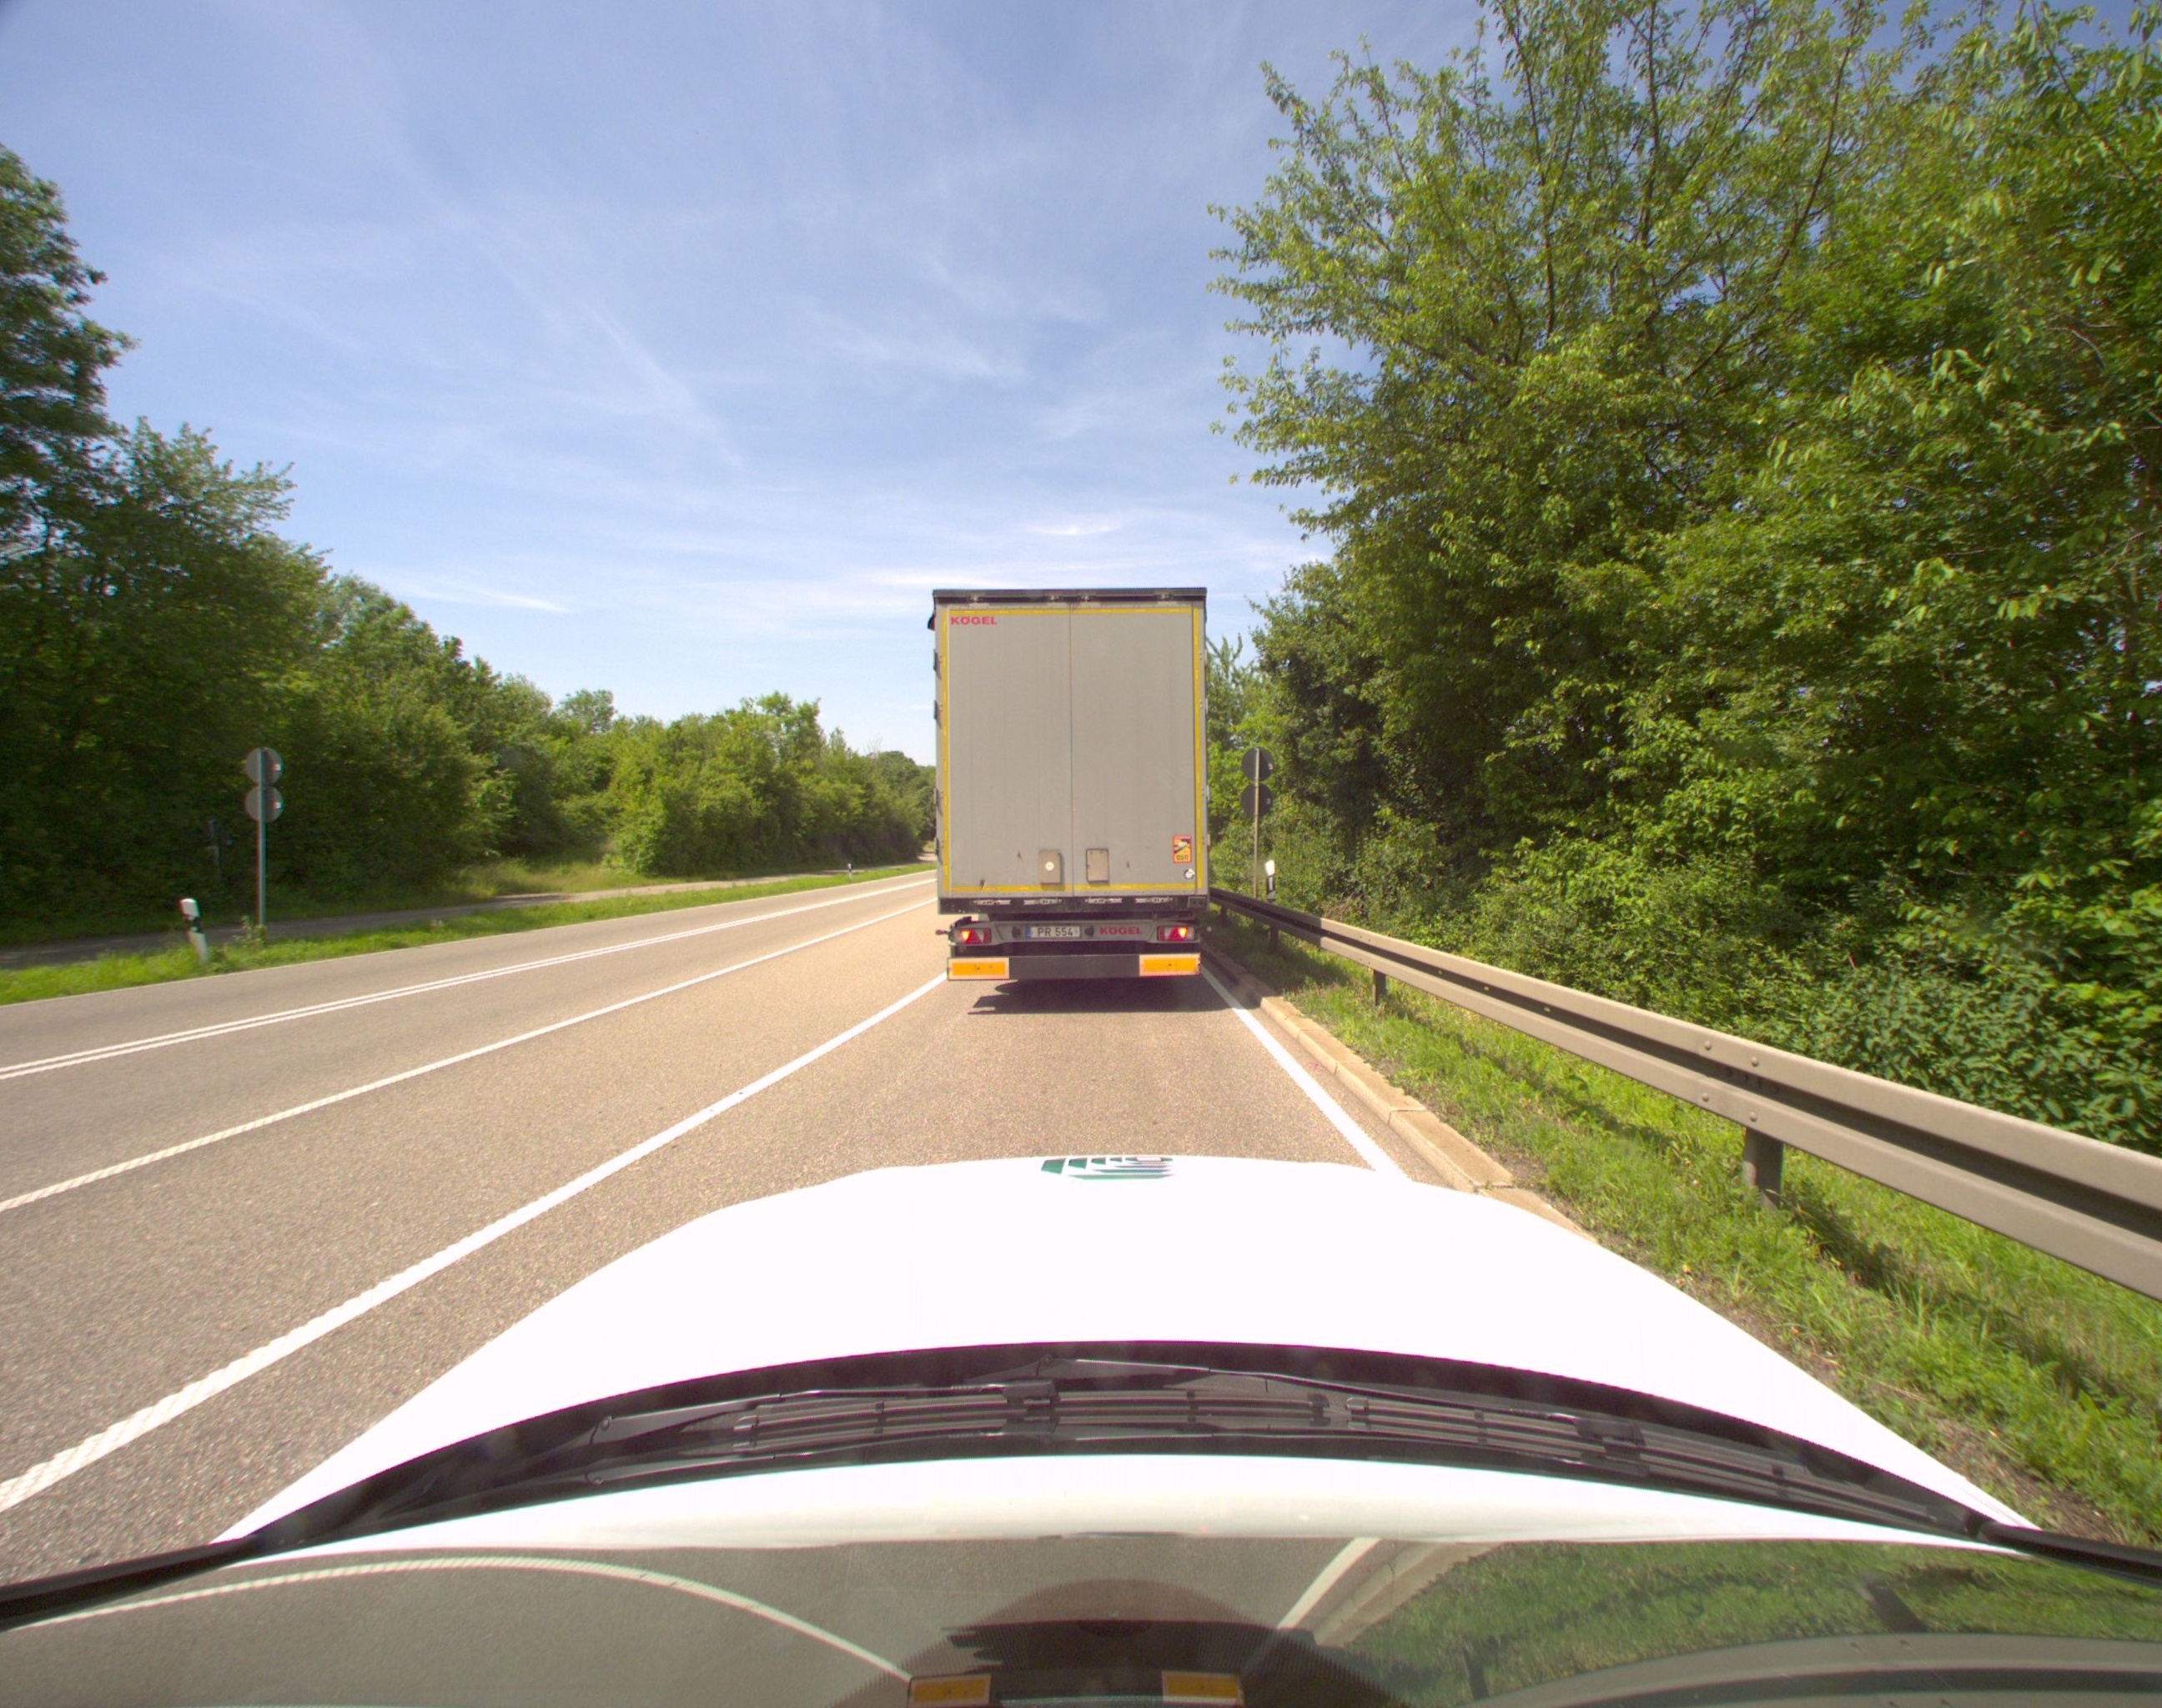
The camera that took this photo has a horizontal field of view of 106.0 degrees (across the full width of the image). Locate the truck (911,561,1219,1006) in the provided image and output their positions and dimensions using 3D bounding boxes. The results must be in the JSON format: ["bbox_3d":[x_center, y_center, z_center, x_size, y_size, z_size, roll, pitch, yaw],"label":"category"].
[{"bbox_3d":[-0.024,-0.671,13.405,2.747,4.029,11.926,-1,0,1],"label":"truck"}]
